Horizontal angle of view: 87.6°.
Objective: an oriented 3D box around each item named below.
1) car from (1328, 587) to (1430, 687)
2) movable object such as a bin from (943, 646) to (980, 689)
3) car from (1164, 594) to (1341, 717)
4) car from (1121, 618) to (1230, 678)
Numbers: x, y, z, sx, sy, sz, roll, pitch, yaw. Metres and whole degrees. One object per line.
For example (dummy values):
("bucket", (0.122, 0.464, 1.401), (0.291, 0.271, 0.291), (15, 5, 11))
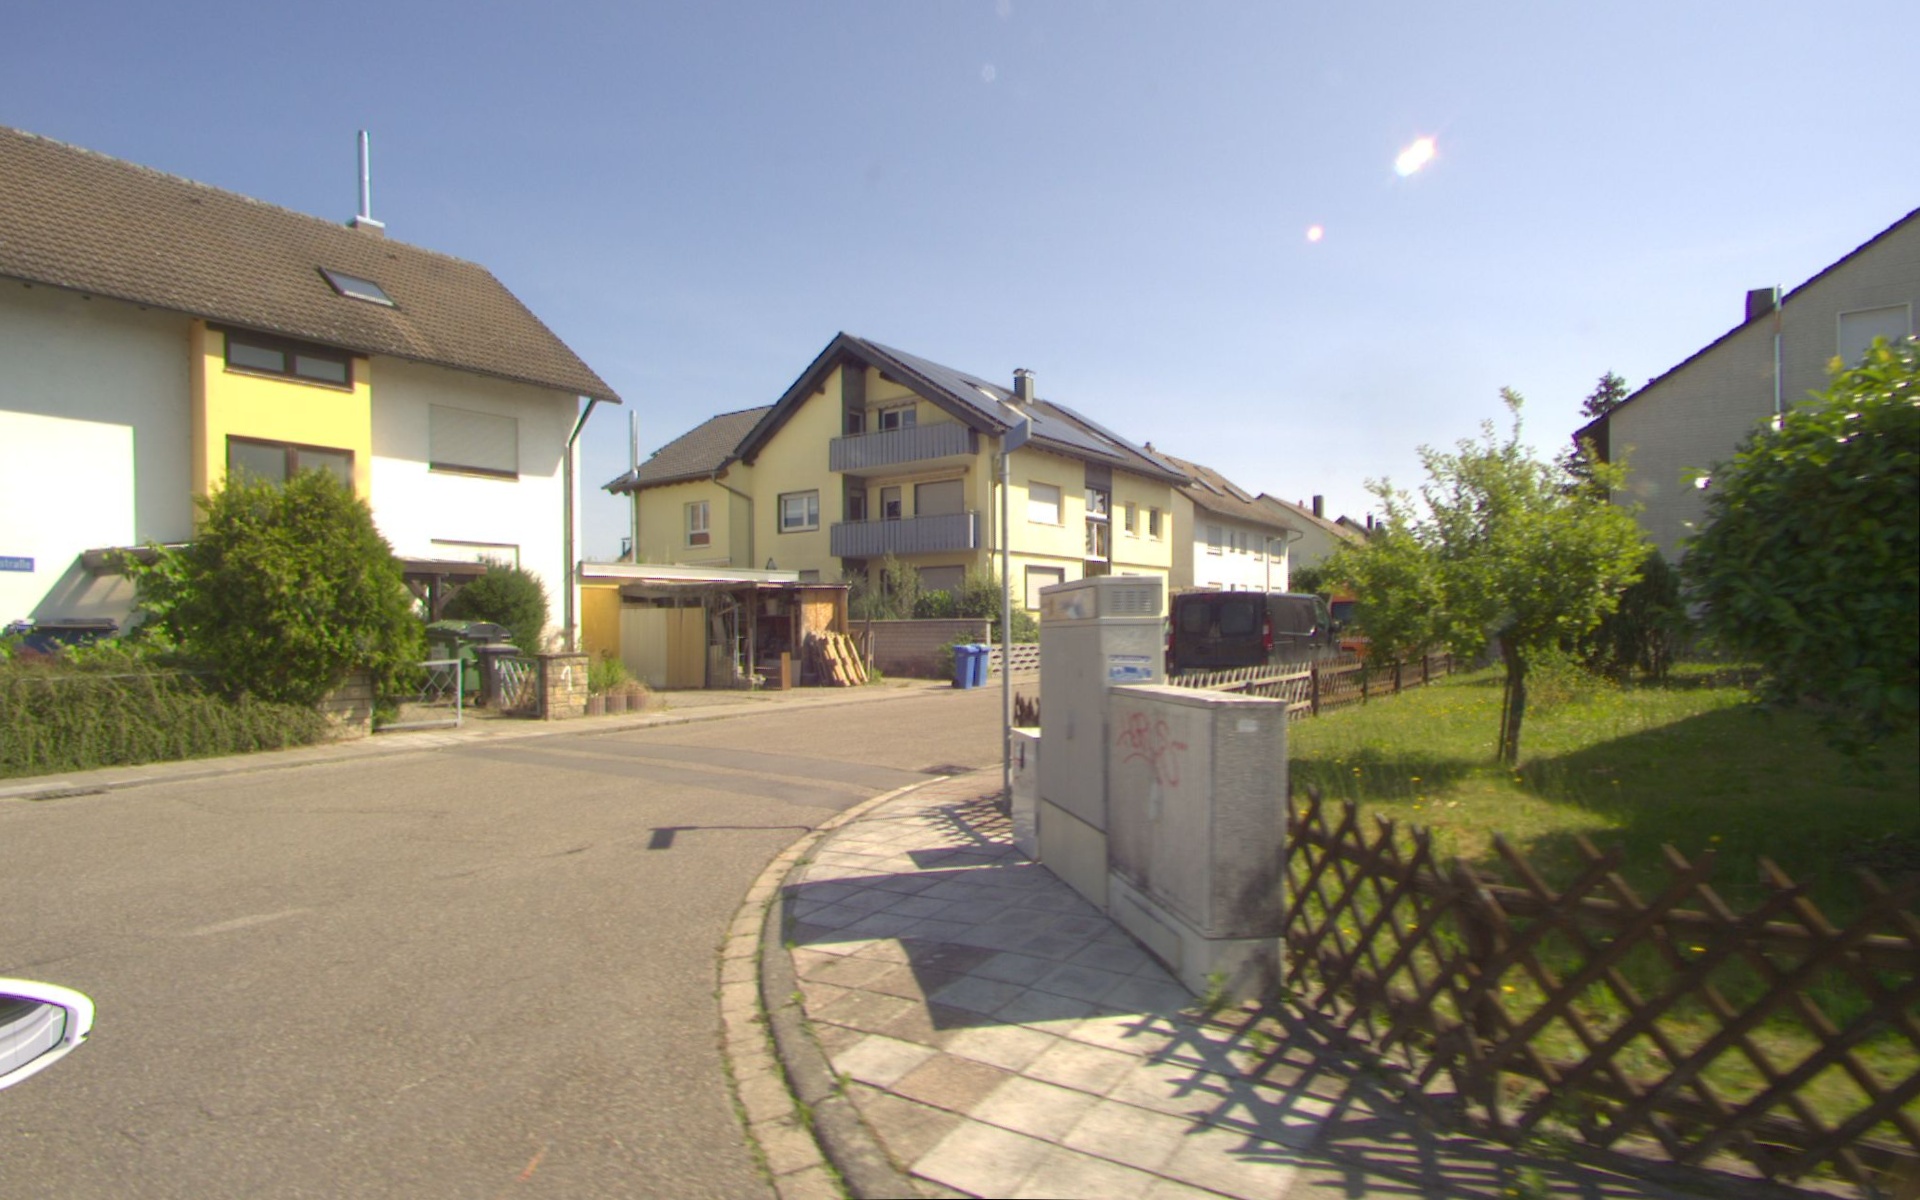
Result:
("car", (10.755, 0.930, 25.556), (1.535, 2.353, 4.179), (-1, -2, 35))
("movable object such as a bin", (0.037, 1.493, 22.293), (0.577, 0.928, 0.594), (-2, -1, 35))
("car", (5.415, 0.948, 18.195), (1.846, 1.963, 4.179), (-2, -2, 35))
("car", (6.383, 1.393, 29.424), (1.613, 1.646, 3.974), (-2, -2, 37))
